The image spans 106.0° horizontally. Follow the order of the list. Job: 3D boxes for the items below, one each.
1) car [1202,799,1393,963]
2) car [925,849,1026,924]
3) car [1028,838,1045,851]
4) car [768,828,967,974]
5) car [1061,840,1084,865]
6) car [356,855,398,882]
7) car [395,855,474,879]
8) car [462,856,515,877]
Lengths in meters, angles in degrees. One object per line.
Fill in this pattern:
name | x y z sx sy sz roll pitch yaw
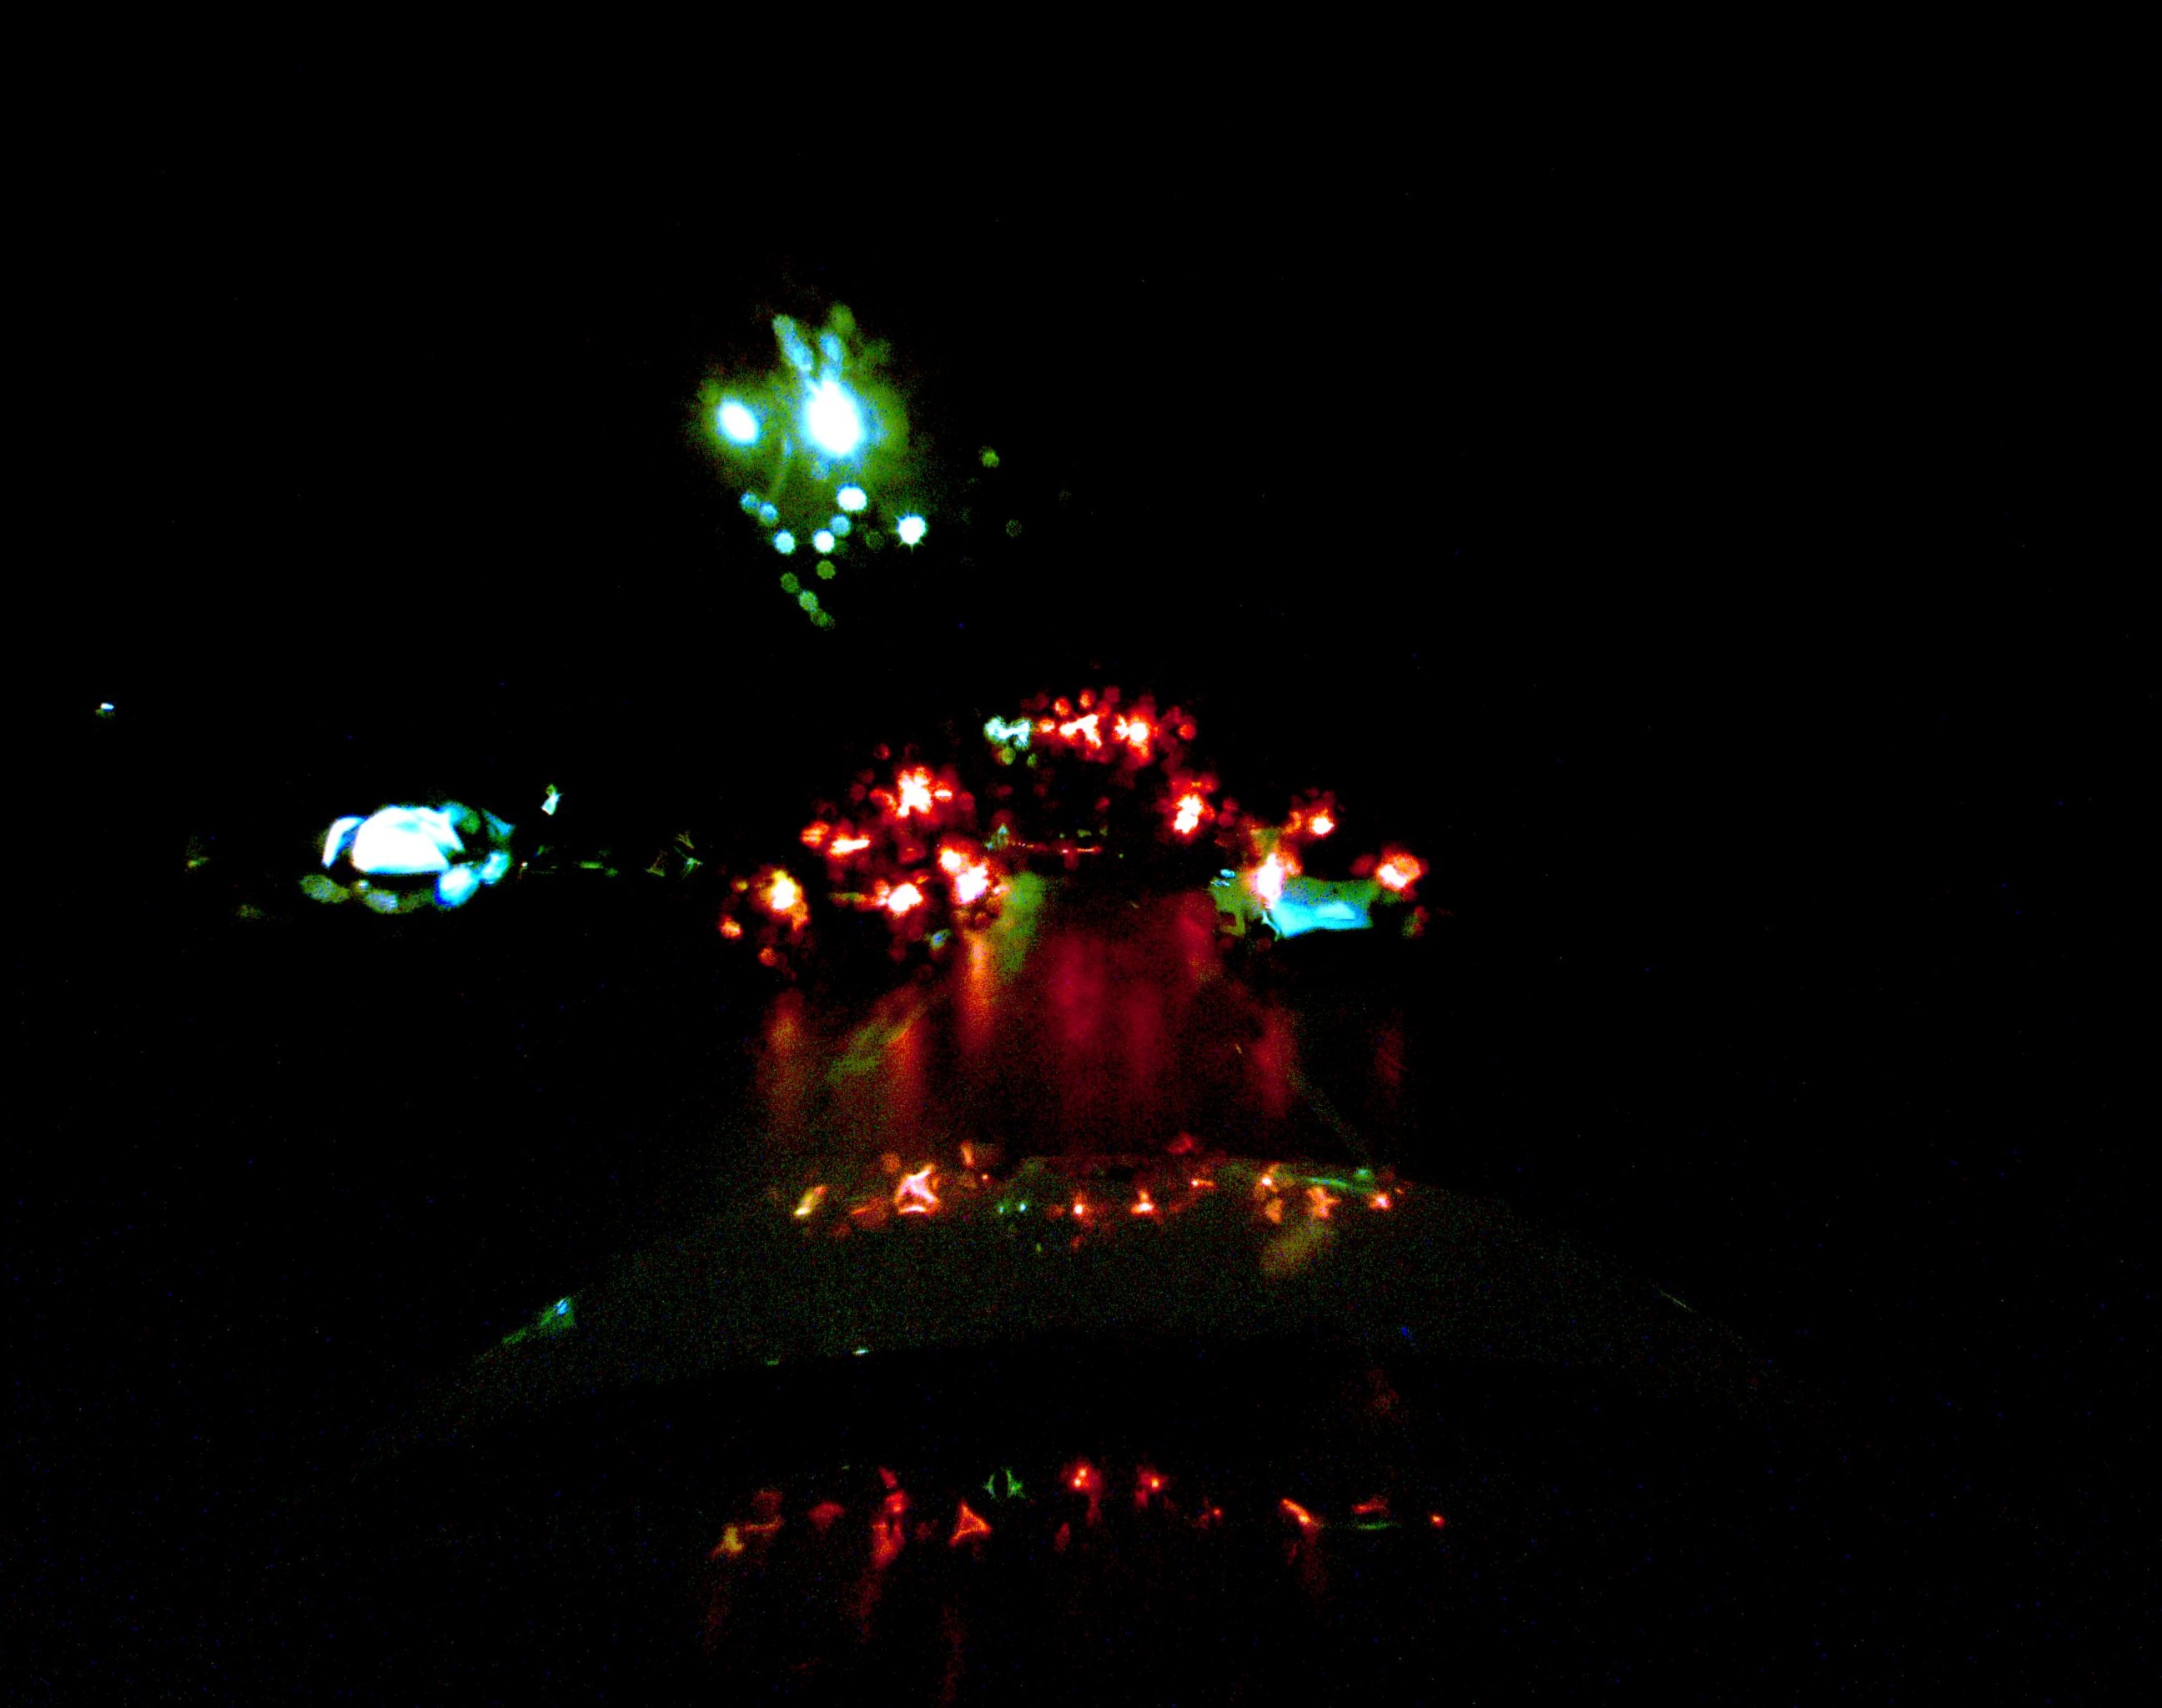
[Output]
car | 3.022 0.325 12.406 1.785 2.022 4.581 -1 0 1
car | -2.383 0.679 19.442 1.778 1.511 4.435 -2 0 0
car | -6.702 -1.438 122.325 1.985 1.717 4.004 3 -1 4
car | -2.955 0.567 12.328 1.778 1.782 4.436 -1 0 0
car | -0.781 -0.114 69.933 1.787 2.022 4.574 -1 0 -3
car | -42.136 0.833 48.798 1.523 1.518 4.326 1 -1 -36
car | -43.511 0.825 54.920 1.710 1.519 4.013 0 0 12
car | -44.592 0.936 61.377 1.723 1.519 3.983 0 0 -12
